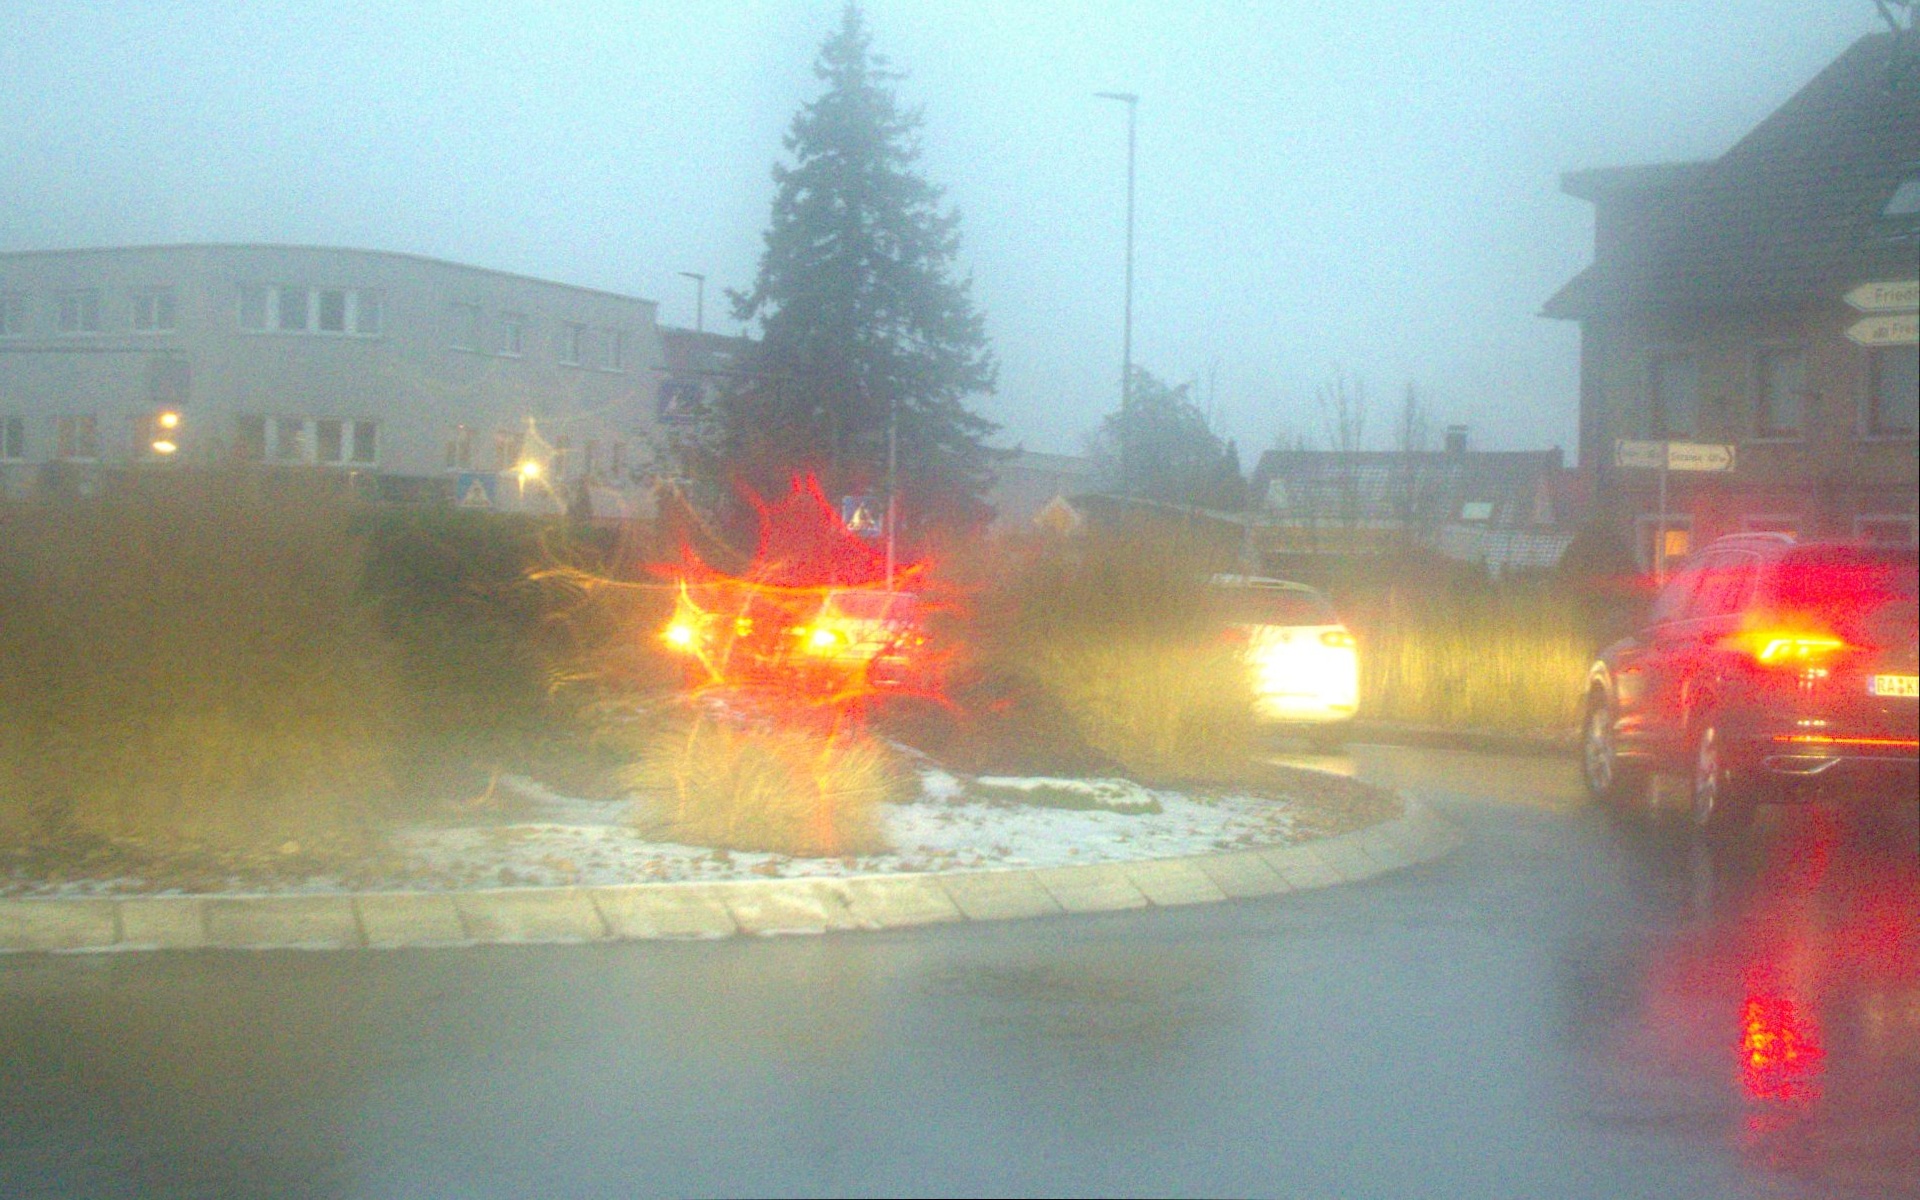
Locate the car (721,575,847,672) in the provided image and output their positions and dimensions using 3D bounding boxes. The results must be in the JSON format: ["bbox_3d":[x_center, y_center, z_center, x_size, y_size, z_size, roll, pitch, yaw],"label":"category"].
[{"bbox_3d":[-2.994,0.422,57.782,1.882,1.543,4.572,1,-1,-6],"label":"car"}]

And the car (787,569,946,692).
[{"bbox_3d":[-1.355,0.443,47.933,1.882,1.609,4.572,1,-1,-6],"label":"car"}]

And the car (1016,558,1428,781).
[{"bbox_3d":[2.174,0.536,30.066,2.163,1.683,4.573,0,2,-15],"label":"car"}]

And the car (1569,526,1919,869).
[{"bbox_3d":[4.746,0.487,19.499,1.944,1.712,4.000,2,1,2],"label":"car"}]
